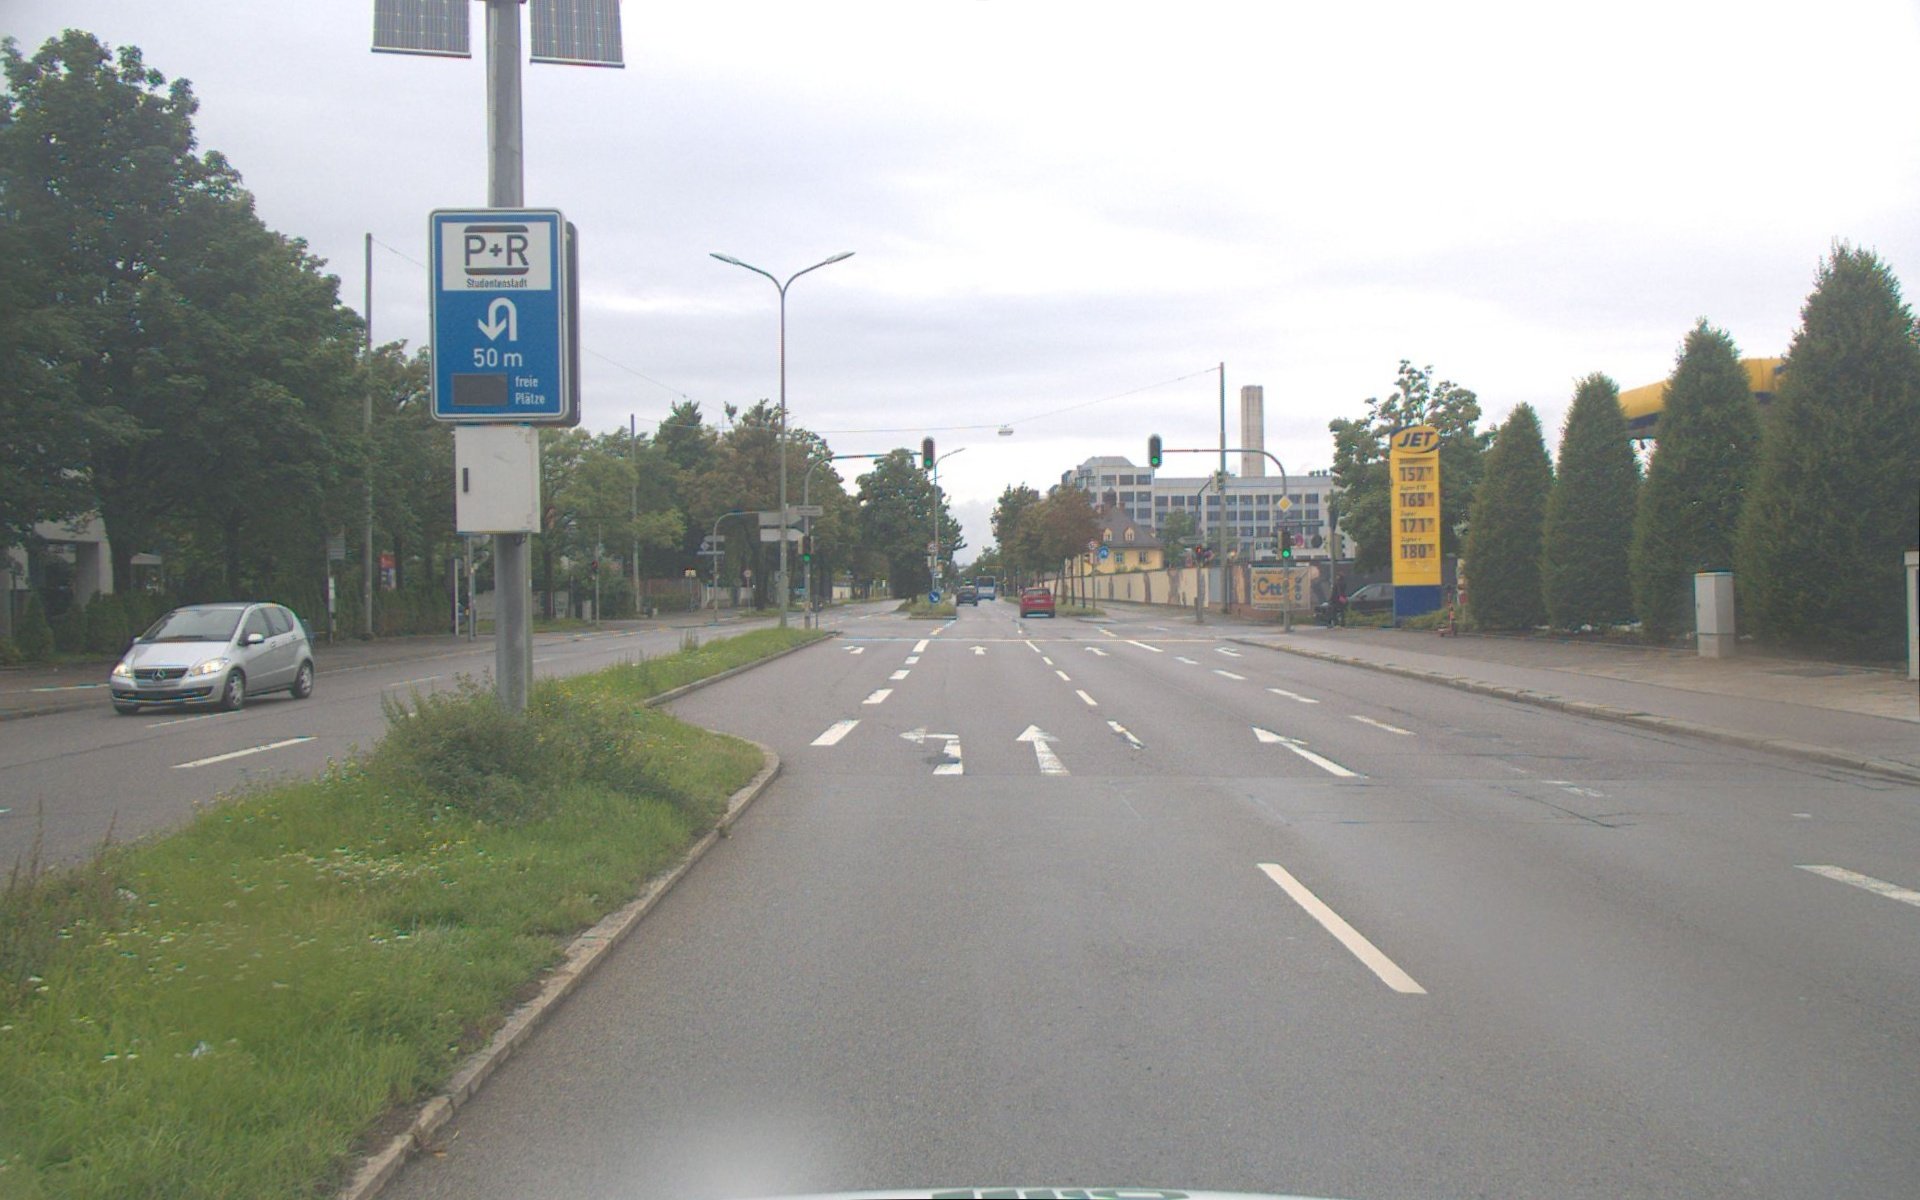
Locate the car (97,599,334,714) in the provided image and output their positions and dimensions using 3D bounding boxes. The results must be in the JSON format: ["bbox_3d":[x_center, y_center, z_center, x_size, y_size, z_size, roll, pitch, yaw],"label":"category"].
[{"bbox_3d":[-11.514,0.816,25.896,1.777,1.585,4.027,-2,0,1],"label":"car"}]

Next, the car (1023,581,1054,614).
[{"bbox_3d":[4.216,-0.156,89.452,1.454,1.745,3.550,0,0,-1],"label":"car"}]

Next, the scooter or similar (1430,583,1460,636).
[{"bbox_3d":[12.050,0.220,41.105,0.348,1.264,1.546,-3,0,5],"label":"scooter or similar"}]

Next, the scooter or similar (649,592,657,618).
[{"bbox_3d":[-17.683,0.281,95.240,0.364,1.449,1.400,0,0,-15],"label":"scooter or similar"}]

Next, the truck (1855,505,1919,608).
[{"bbox_3d":[41.372,-1.803,64.220,11.649,3.923,2.611,-1,0,2],"label":"truck"}]

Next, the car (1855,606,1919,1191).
[{"bbox_3d":[3.435,0.778,2.312,1.840,1.493,4.500,0,0,-2],"label":"car"}]

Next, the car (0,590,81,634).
[{"bbox_3d":[-32.268,0.385,56.234,4.075,1.443,1.871,0,0,17],"label":"car"}]

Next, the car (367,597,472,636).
[{"bbox_3d":[-25.468,0.779,78.015,4.177,1.602,2.002,-2,2,9],"label":"car"}]

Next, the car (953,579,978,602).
[{"bbox_3d":[0.432,-0.836,142.718,2.042,1.898,4.385,0,0,-1],"label":"car"}]

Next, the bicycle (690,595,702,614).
[{"bbox_3d":[-18.295,0.303,114.570,0.570,1.318,2.453,0,0,-2],"label":"bicycle"}]

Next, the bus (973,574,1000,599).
[{"bbox_3d":[3.518,-1.762,220.186,3.155,3.181,10.342,0,0,-1],"label":"bus"}]

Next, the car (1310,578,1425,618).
[{"bbox_3d":[16.480,-0.084,67.046,4.162,1.453,2.001,-1,0,2],"label":"car"}]
